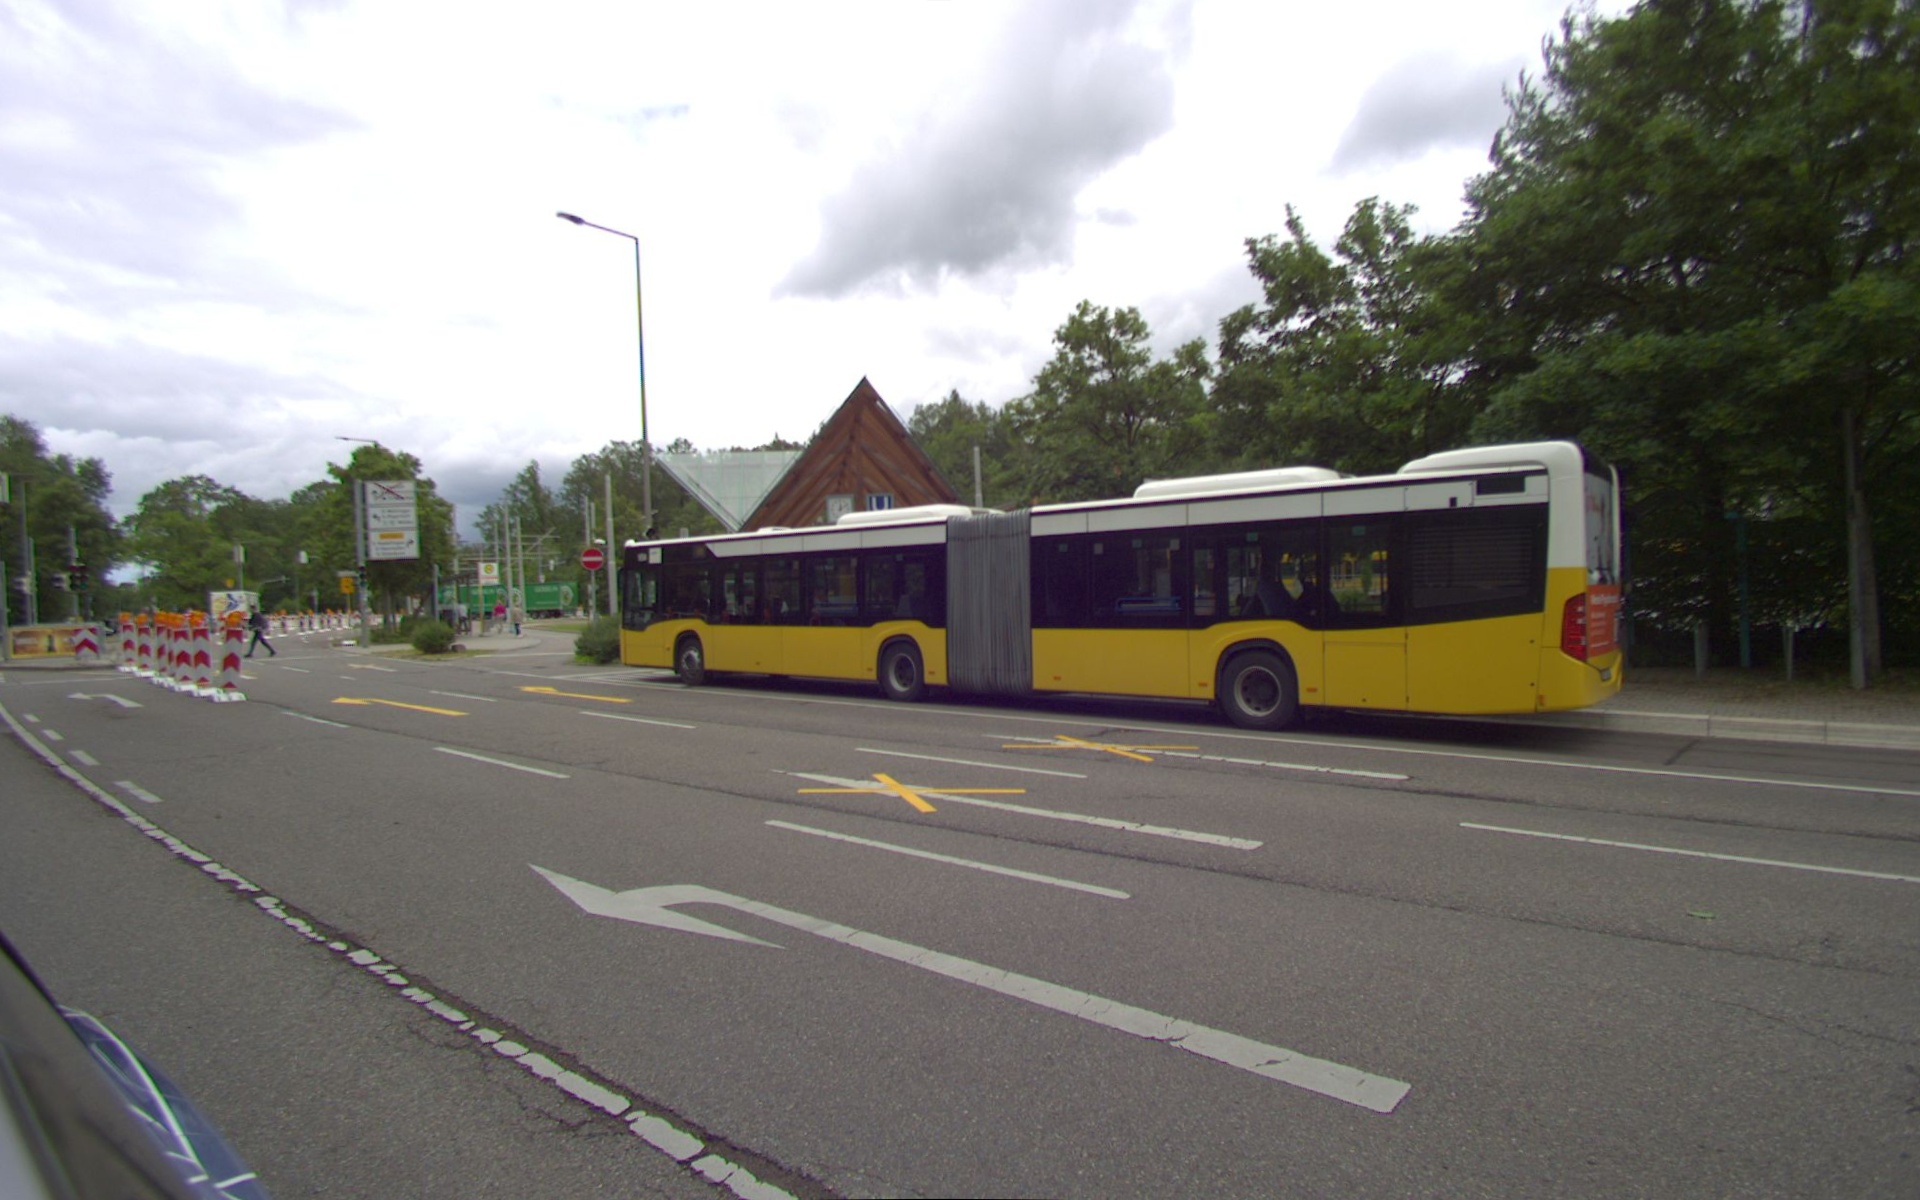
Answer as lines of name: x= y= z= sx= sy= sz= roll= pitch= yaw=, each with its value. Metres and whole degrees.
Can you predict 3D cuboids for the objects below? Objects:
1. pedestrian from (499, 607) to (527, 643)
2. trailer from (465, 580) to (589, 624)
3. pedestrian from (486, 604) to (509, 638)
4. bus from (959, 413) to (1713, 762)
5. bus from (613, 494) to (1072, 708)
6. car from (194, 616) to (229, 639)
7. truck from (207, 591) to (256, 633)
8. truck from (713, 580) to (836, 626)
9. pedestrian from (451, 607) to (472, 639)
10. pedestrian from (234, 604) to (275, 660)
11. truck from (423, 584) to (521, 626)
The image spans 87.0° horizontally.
pedestrian: x=-19.925 y=1.091 z=45.143 sx=0.863 sy=1.536 sz=0.768 roll=-3 pitch=1 yaw=-1
trailer: x=-44.078 y=0.196 z=102.990 sx=11.761 sy=3.910 sz=3.770 roll=-3 pitch=1 yaw=16
pedestrian: x=-22.680 y=1.028 z=49.615 sx=0.779 sy=1.563 sz=0.777 roll=-3 pitch=1 yaw=-38
bus: x=4.188 y=-0.059 z=13.095 sx=8.690 sy=3.150 sz=2.868 roll=-1 pitch=-1 yaw=41
bus: x=-2.725 y=0.085 z=19.201 sx=9.755 sy=3.150 sz=2.868 roll=-1 pitch=-1 yaw=41
car: x=-52.710 y=1.915 z=71.231 sx=1.785 sy=1.520 sz=4.315 roll=0 pitch=0 yaw=-40
truck: x=-59.209 y=0.998 z=82.374 sx=2.592 sy=3.263 sz=6.225 roll=0 pitch=-1 yaw=-29
truck: x=-10.250 y=0.156 z=55.919 sx=6.263 sy=2.186 sz=2.587 roll=-3 pitch=1 yaw=24
pedestrian: x=-24.785 y=1.129 z=50.329 sx=0.764 sy=1.557 sz=0.630 roll=-3 pitch=2 yaw=-36
pedestrian: x=-24.128 y=1.092 z=34.625 sx=0.978 sy=1.822 sz=0.769 roll=-3 pitch=1 yaw=-29
truck: x=-50.509 y=0.514 z=104.848 sx=8.692 sy=3.910 sz=3.770 roll=-3 pitch=1 yaw=16
